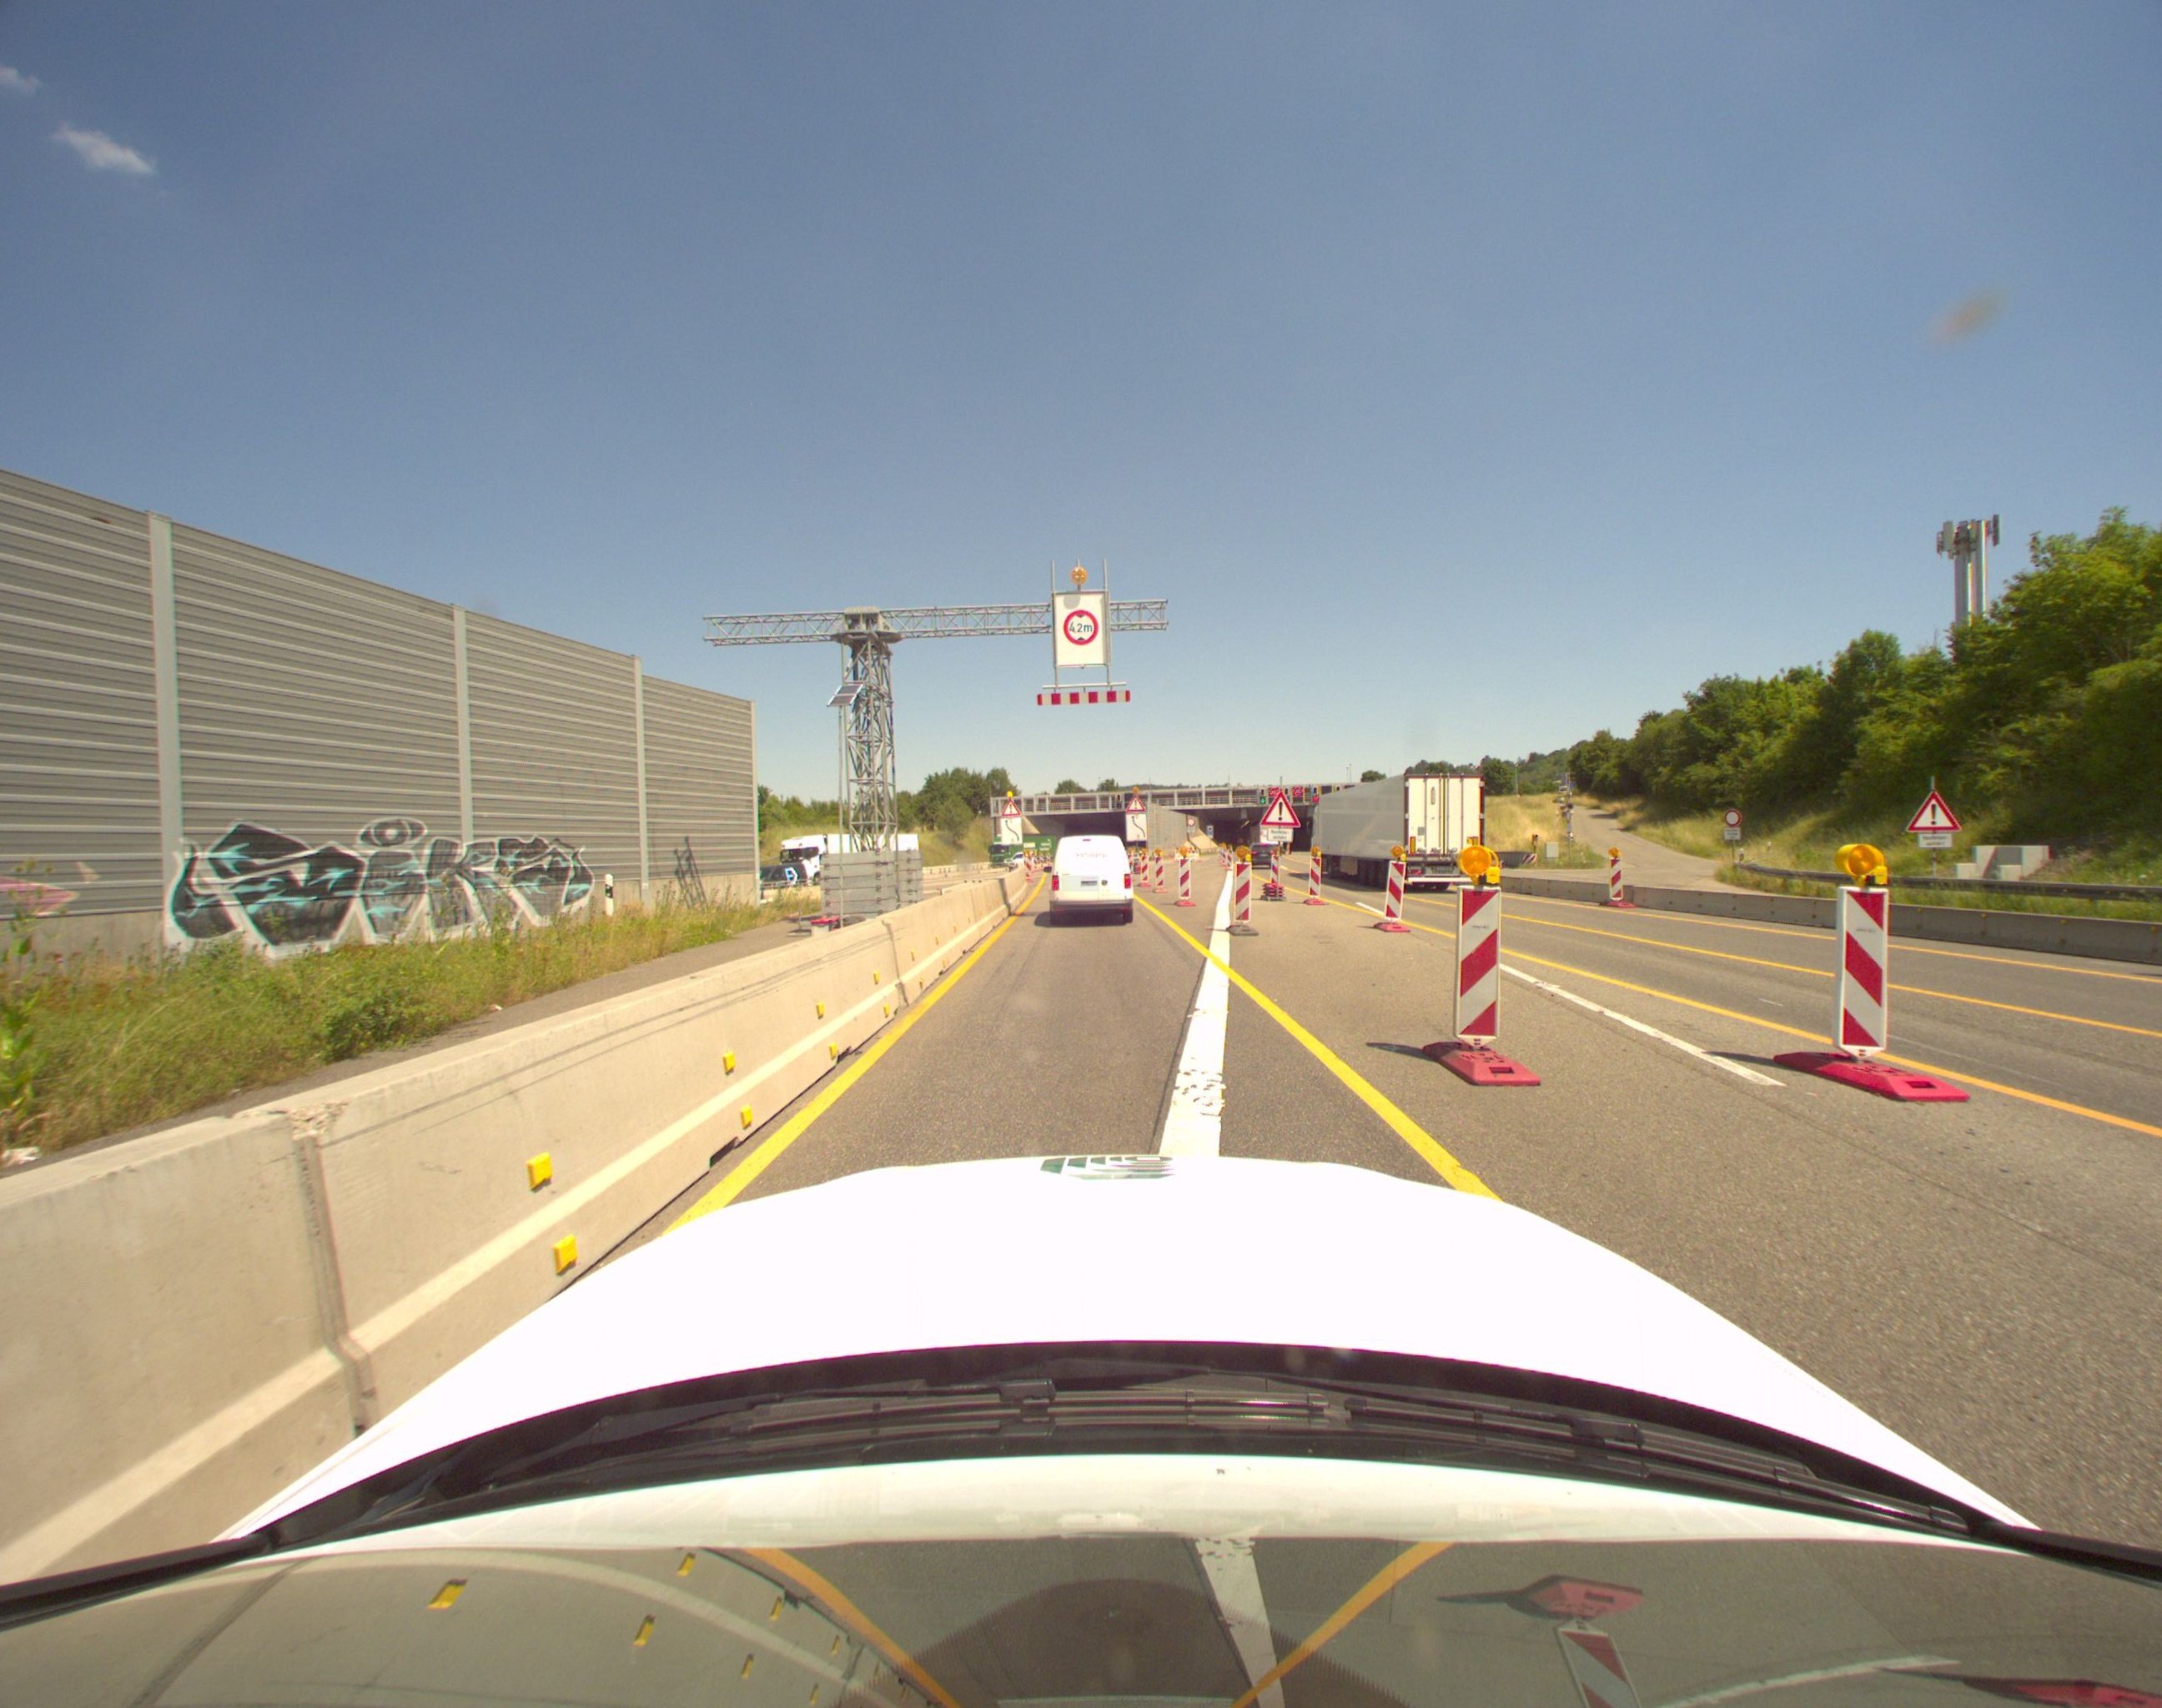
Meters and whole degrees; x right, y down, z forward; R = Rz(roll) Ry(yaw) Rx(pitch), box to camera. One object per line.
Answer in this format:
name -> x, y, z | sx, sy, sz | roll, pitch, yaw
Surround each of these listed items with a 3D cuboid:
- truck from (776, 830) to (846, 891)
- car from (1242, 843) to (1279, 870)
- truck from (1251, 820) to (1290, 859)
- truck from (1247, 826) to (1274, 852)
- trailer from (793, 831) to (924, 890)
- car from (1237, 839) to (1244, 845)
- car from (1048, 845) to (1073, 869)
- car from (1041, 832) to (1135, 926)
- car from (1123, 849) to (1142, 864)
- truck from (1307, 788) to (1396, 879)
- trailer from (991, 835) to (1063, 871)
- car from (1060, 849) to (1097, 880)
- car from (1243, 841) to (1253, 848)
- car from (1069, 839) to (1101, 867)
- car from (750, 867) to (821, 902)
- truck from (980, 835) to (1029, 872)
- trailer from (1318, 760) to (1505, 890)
truck -> -20.646, 0.483, 62.472 | 2.642, 4.500, 4.866 | -1, 0, 19
car -> 11.394, 0.148, 51.932 | 1.806, 1.630, 4.197 | 0, 0, 6
truck -> 22.783, -1.593, 98.947 | 3.382, 4.335, 16.576 | 0, -1, 9
truck -> 30.232, -2.431, 137.732 | 3.382, 4.071, 16.577 | 0, 0, 9
trailer -> -18.333, 0.414, 69.141 | 2.642, 4.500, 15.002 | -1, 0, 19
car -> 42.951, -3.186, 219.591 | 1.804, 1.630, 4.200 | 0, 0, 9
car -> -1.618, 0.236, 64.754 | 1.803, 1.815, 4.409 | -3, 0, 0
car -> 0.135, 0.491, 18.013 | 1.803, 1.794, 3.730 | -3, 0, 0
car -> 7.049, 0.317, 110.994 | 1.941, 1.815, 4.424 | -3, 0, 11
truck -> 12.953, -0.922, 39.509 | 2.733, 4.033, 5.933 | 0, 0, 4
trailer -> -6.669, -0.151, 104.631 | 3.515, 4.270, 13.982 | -1, 0, 21
car -> -0.186, 0.555, 44.188 | 1.804, 1.537, 4.406 | -3, 0, -2
car -> 41.590, -2.351, 202.669 | 2.318, 1.838, 4.555 | 0, 0, 9
car -> 0.512, -0.100, 83.994 | 2.801, 2.773, 7.108 | -1, -1, 4
car -> -17.943, 1.814, 49.648 | 1.977, 2.014, 4.018 | 0, -1, 18
truck -> -9.185, -0.091, 98.227 | 3.515, 4.270, 5.809 | -1, 0, 21
trailer -> 12.430, -0.927, 32.611 | 2.720, 4.062, 14.111 | 0, 0, 4
